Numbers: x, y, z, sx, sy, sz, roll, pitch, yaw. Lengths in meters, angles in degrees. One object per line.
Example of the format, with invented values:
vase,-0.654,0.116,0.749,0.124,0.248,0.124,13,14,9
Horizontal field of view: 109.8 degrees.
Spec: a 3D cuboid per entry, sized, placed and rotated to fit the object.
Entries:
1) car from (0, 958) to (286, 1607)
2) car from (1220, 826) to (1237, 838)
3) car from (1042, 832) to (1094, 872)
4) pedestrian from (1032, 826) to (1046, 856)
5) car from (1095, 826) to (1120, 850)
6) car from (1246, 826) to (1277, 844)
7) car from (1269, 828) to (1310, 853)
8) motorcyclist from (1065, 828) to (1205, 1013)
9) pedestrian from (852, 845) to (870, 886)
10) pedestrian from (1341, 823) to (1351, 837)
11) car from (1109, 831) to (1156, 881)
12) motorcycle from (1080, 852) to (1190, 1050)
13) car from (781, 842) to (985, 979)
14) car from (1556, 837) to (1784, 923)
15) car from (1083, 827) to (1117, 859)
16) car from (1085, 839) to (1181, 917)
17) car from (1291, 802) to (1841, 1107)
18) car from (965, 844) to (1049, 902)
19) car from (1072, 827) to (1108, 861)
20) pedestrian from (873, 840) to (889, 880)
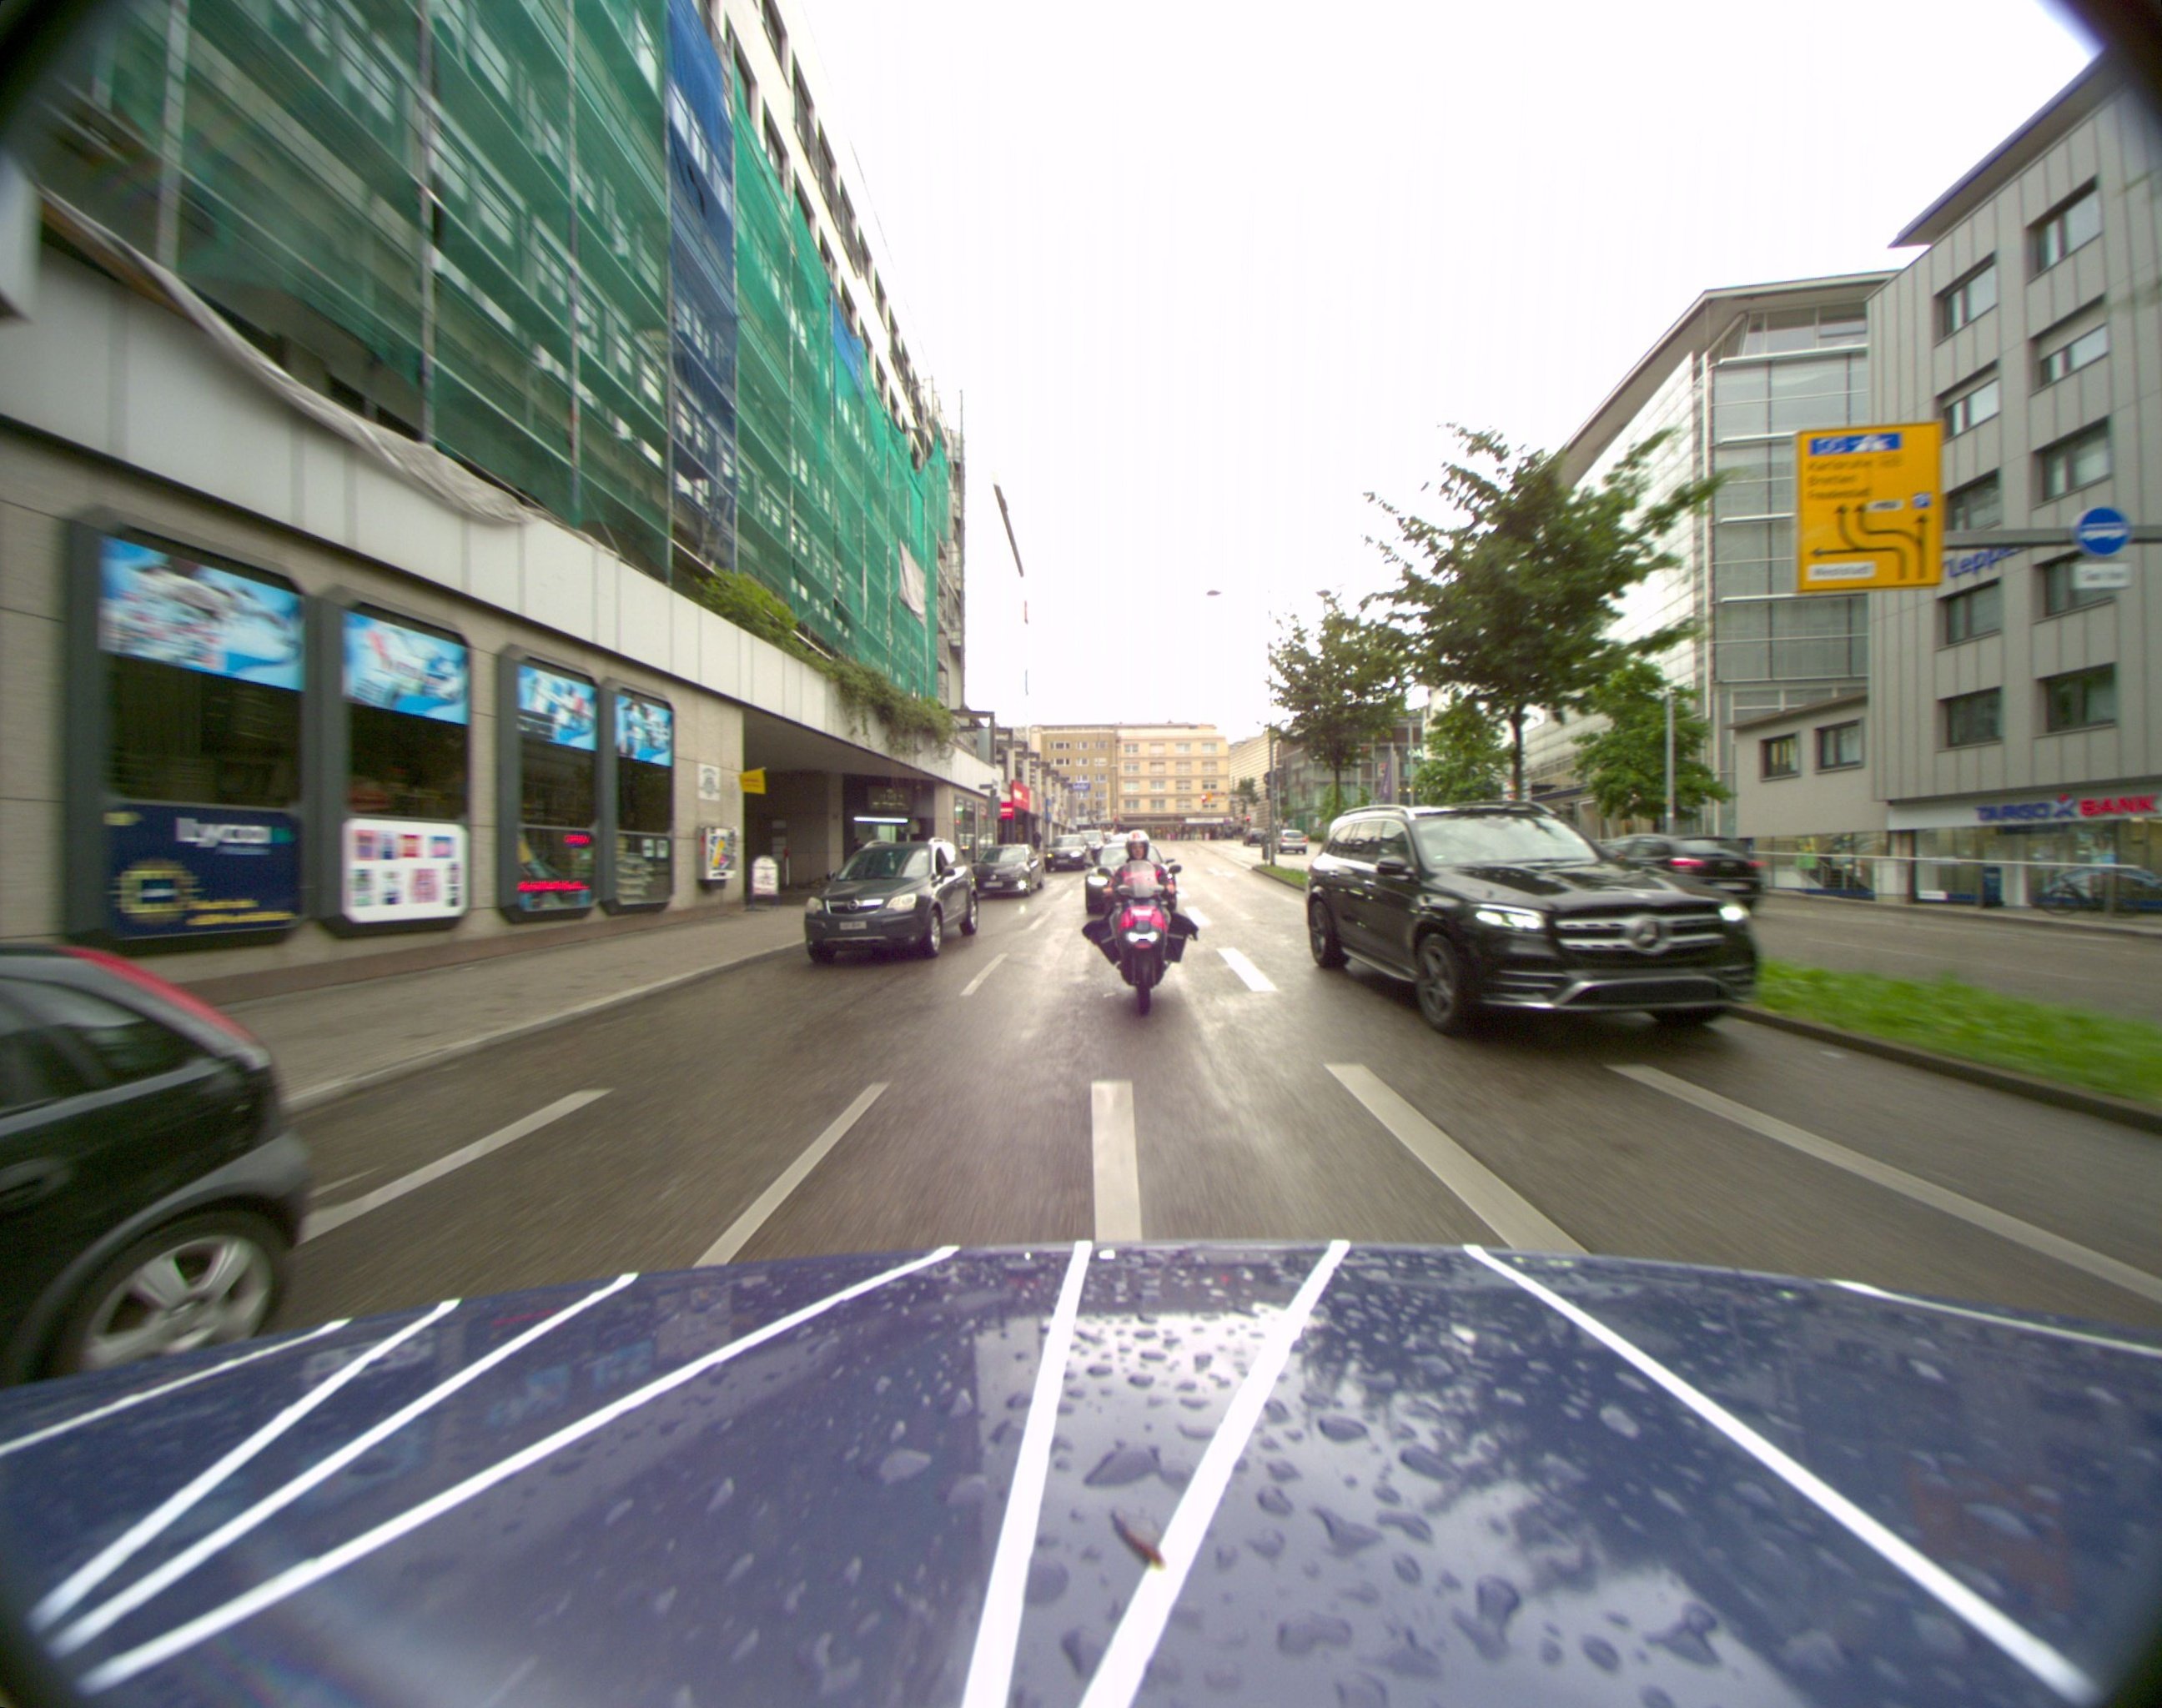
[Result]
car,-3.338,1.039,0.592,1.596,1.432,3.628,-1,-1,0
car,26.193,-3.985,134.870,1.999,2.003,3.997,-3,2,-4
car,-0.508,-0.147,34.653,1.776,1.575,4.000,-3,3,7
pedestrian,-2.578,-0.792,46.862,0.707,1.771,0.640,4,8,4
car,2.020,-1.245,57.422,1.831,1.727,3.999,1,3,3
car,15.264,-1.633,64.575,1.998,1.500,4.185,0,3,5
car,13.139,-0.885,48.071,1.629,1.430,3.646,0,3,2
motorcyclist,0.544,0.646,7.841,1.296,1.757,0.845,-2,3,2
pedestrian,-8.315,0.428,28.726,0.525,1.480,0.428,-2,4,-29
pedestrian,35.470,-3.191,101.675,0.986,1.888,0.739,-3,3,-14
car,1.913,0.010,28.500,1.632,1.731,3.599,0,2,3
motorcycle,0.502,0.794,7.625,0.832,1.479,2.865,-2,2,3
car,-2.860,0.715,12.041,1.735,1.669,4.248,-2,2,5
car,11.630,0.440,15.385,1.622,1.483,3.879,2,1,1
car,1.160,-0.692,44.553,1.831,1.727,3.999,1,3,3
car,1.186,0.452,17.807,1.937,1.511,4.468,-1,2,3
car,3.600,0.517,7.013,1.998,1.768,4.884,-3,2,1
car,-2.095,0.501,22.452,1.681,1.422,3.777,-2,2,6
car,0.559,-0.596,42.420,1.831,1.727,3.999,1,3,3
pedestrian,-7.404,0.214,28.127,0.429,1.480,0.524,0,3,-2
